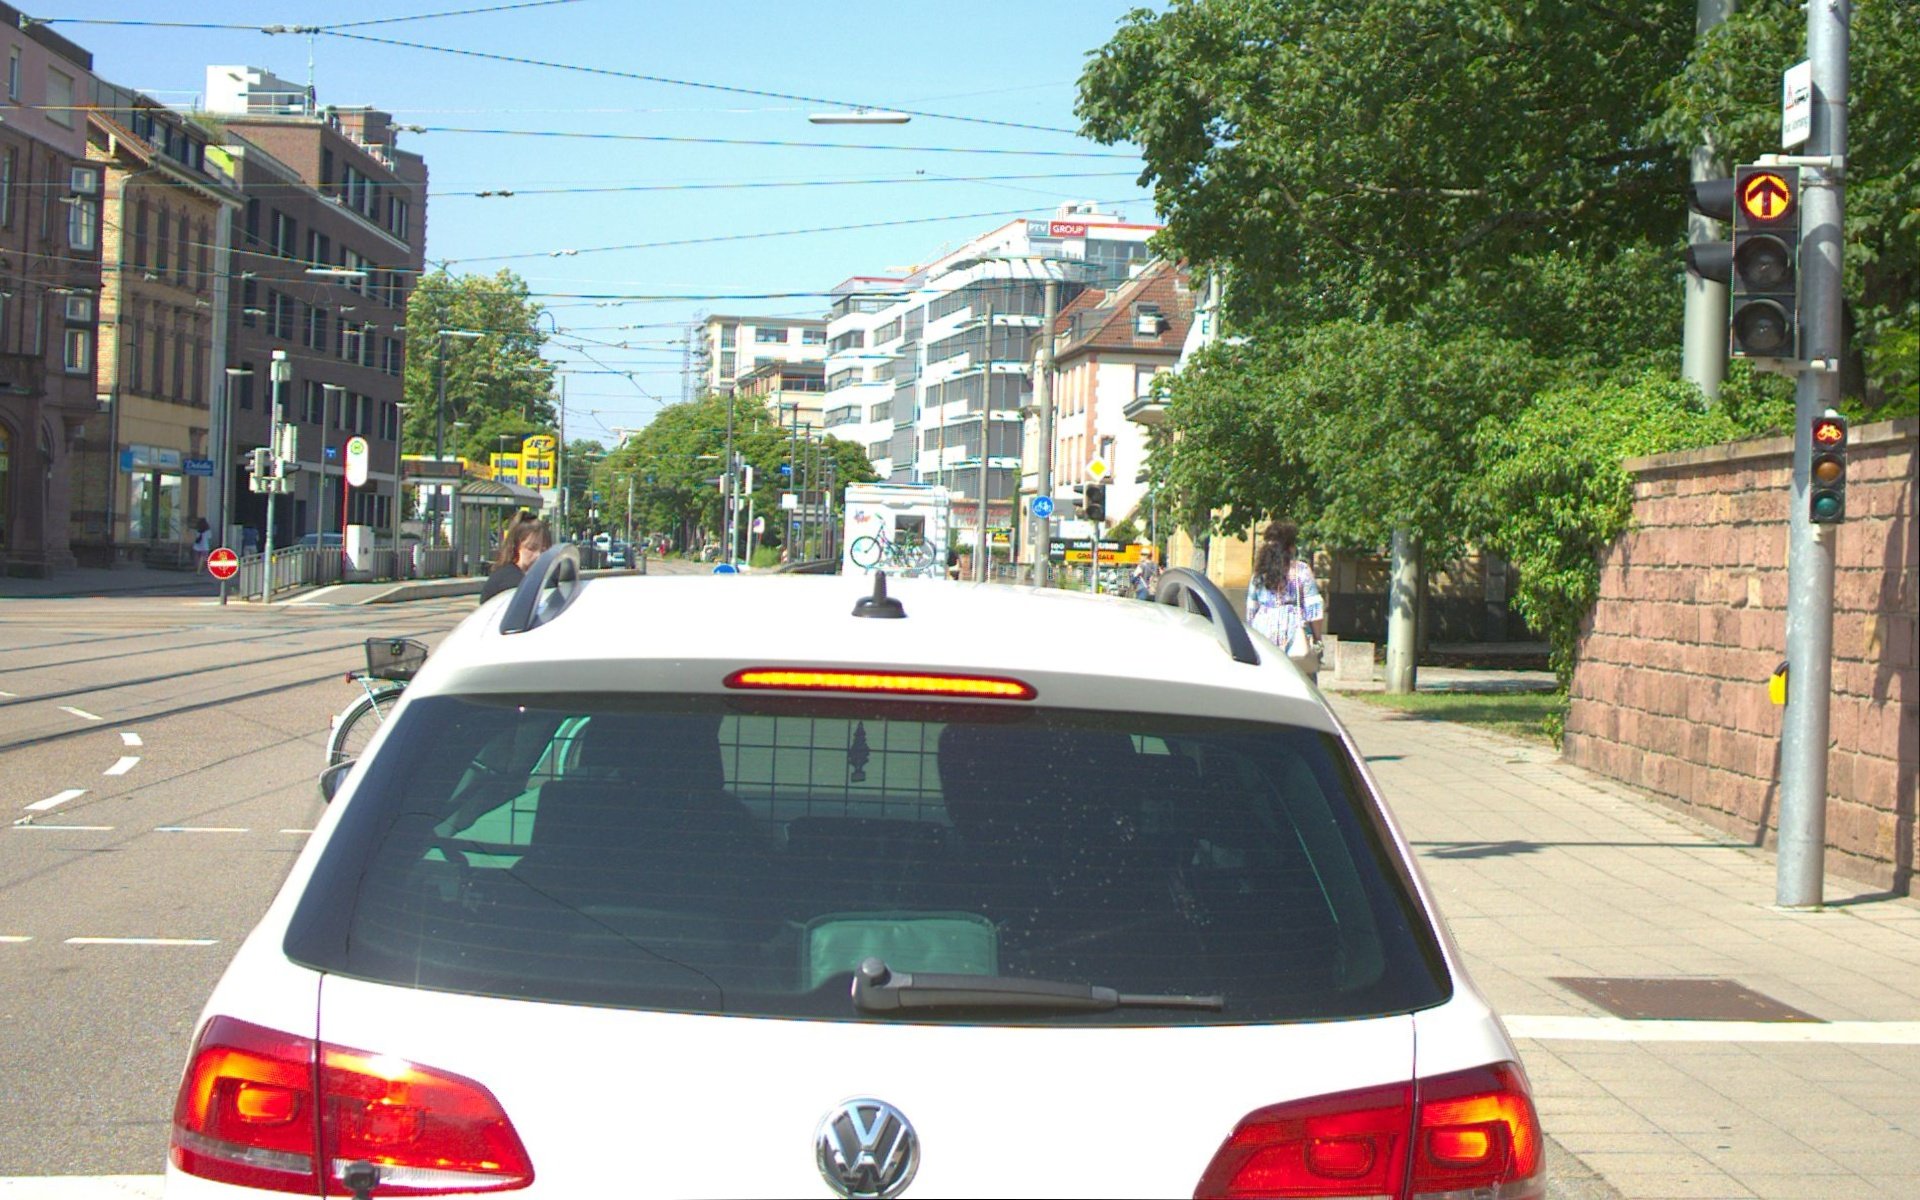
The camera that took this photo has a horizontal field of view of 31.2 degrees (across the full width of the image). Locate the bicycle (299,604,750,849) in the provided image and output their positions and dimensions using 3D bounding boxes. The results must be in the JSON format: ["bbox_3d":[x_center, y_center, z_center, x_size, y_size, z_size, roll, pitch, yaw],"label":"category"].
[{"bbox_3d":[-2.079,0.600,16.359,2.019,1.086,0.710,2,1,-15],"label":"bicycle"}]

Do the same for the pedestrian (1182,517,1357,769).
[{"bbox_3d":[2.092,0.280,23.144,0.954,1.645,0.974,0,0,20],"label":"pedestrian"}]

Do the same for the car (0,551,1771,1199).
[{"bbox_3d":[-0.143,0.680,5.449,1.808,1.443,4.000,2,1,-1],"label":"car"}]

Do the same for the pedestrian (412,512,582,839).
[{"bbox_3d":[-2.284,0.359,16.912,0.745,1.566,0.675,0,2,-14],"label":"pedestrian"}]

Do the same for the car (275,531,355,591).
[{"bbox_3d":[-18.039,-1.081,96.275,1.740,1.612,4.000,0,0,-4],"label":"car"}]

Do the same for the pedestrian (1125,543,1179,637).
[{"bbox_3d":[3.595,-0.188,64.358,0.862,1.737,0.974,0,0,12],"label":"pedestrian"}]

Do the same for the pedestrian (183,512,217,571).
[{"bbox_3d":[-22.736,-1.754,102.861,0.861,1.737,0.975,0,0,-6],"label":"pedestrian"}]

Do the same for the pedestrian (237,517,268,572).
[{"bbox_3d":[-22.343,-1.752,108.613,0.861,1.737,0.975,0,0,-6],"label":"pedestrian"}]

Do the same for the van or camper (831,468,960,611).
[{"bbox_3d":[-1.393,-1.305,76.929,2.567,3.082,5.702,0,0,2],"label":"van or camper"}]

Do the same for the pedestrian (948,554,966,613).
[{"bbox_3d":[-0.125,-0.659,136.276,0.690,2.317,1.232,0,0,1],"label":"pedestrian"}]
